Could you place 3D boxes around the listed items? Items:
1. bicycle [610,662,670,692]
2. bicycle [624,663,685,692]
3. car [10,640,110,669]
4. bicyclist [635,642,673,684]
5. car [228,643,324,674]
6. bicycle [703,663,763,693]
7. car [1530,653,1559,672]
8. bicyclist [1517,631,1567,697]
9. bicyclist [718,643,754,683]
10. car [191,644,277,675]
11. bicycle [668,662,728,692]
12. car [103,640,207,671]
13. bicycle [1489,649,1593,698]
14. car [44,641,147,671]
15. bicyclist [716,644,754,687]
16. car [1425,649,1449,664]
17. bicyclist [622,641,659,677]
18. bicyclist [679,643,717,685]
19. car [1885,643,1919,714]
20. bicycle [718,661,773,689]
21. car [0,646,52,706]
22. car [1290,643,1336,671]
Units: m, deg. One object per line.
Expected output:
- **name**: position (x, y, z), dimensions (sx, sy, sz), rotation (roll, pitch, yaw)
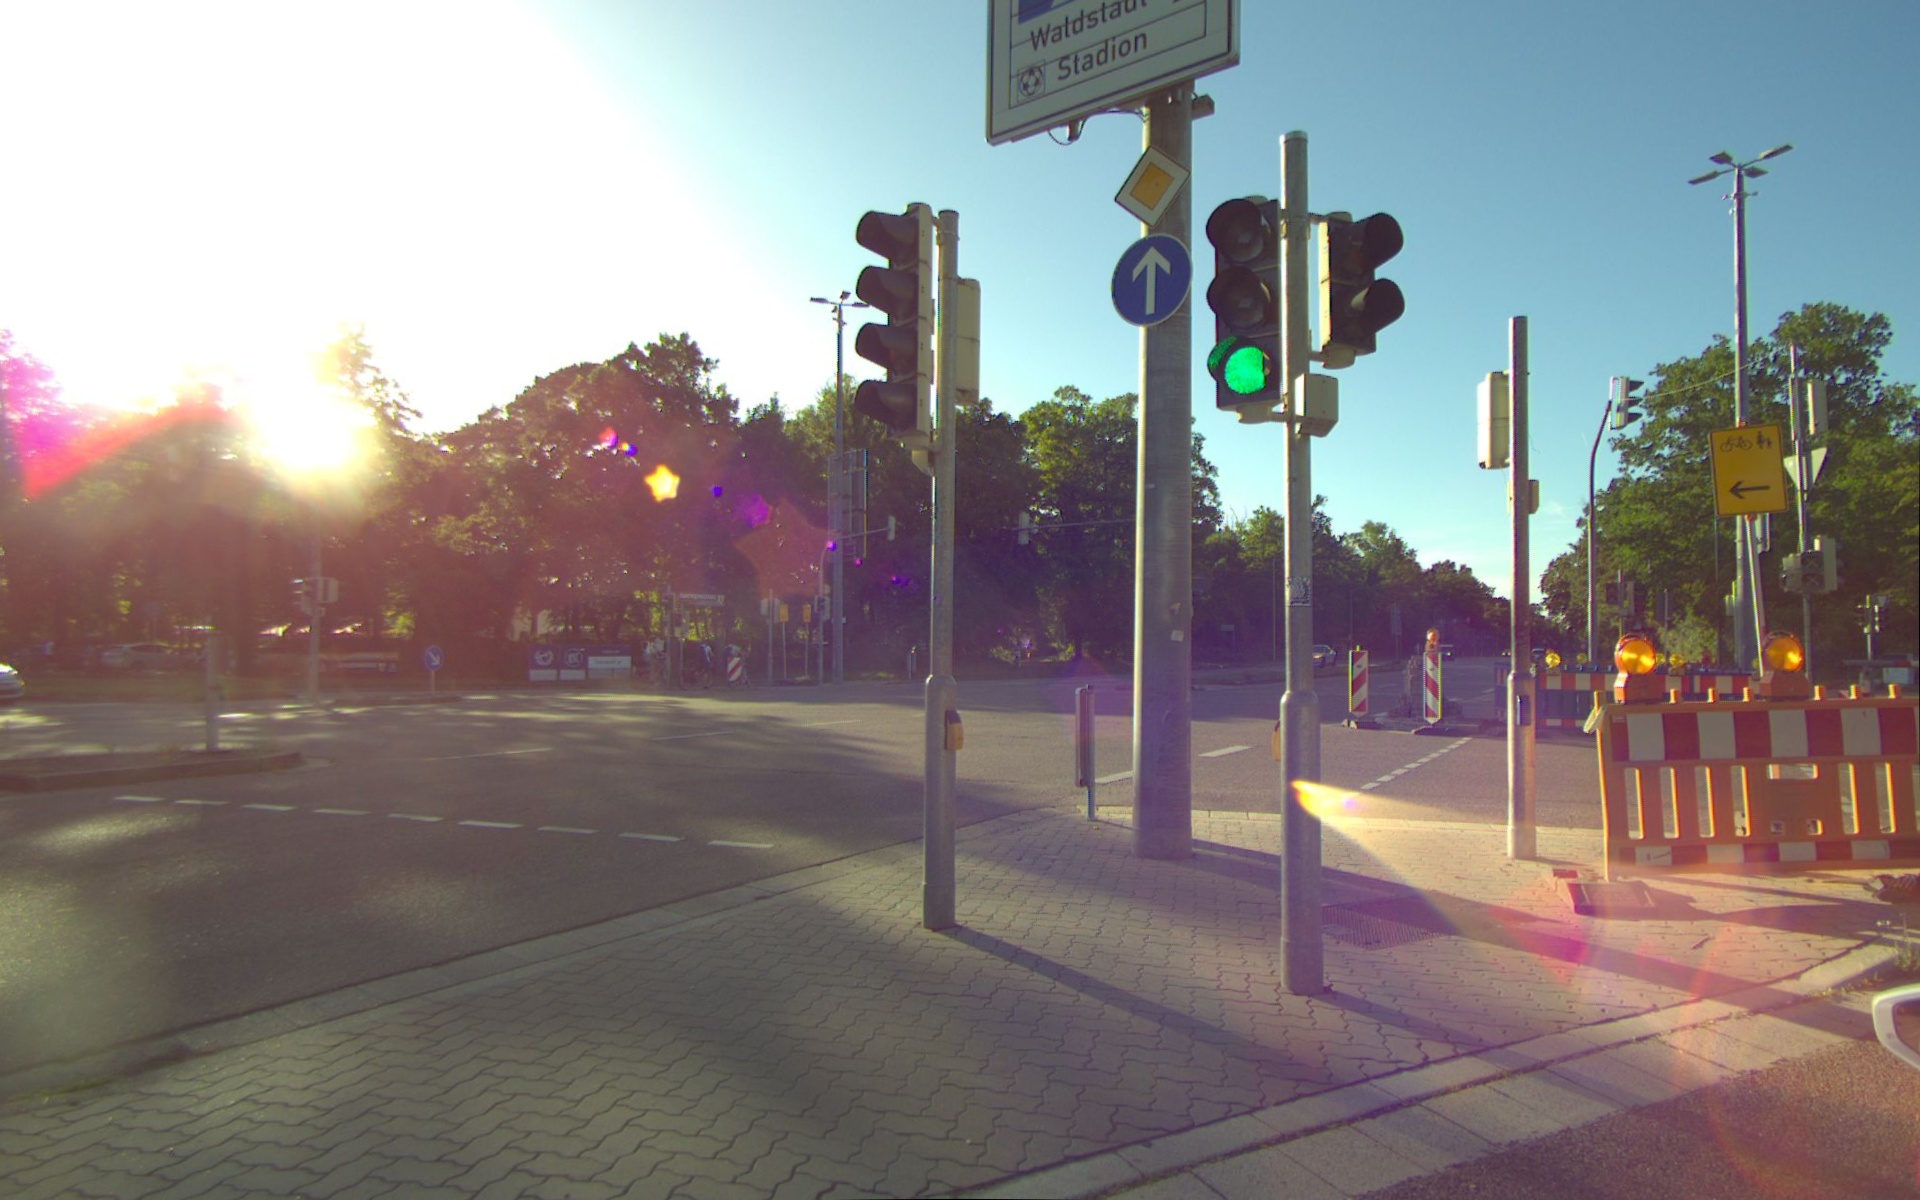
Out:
- **bicycle**: position (-10.966, 2.620, 34.436), dimensions (0.706, 0.926, 1.903), rotation (-2, -2, 38)
- **bicycle**: position (-10.288, 2.605, 33.841), dimensions (0.706, 0.926, 1.903), rotation (-1, -3, 38)
- **car**: position (-52.425, 3.154, 58.590), dimensions (1.779, 1.620, 3.971), rotation (-1, -3, 22)
- **bicyclist**: position (-10.310, 2.116, 33.835), dimensions (0.702, 1.408, 0.986), rotation (-1, -3, 39)
- **car**: position (-37.377, 3.157, 55.011), dimensions (1.777, 1.620, 4.200), rotation (0, -2, 13)
- **bicycle**: position (-7.359, 2.522, 32.629), dimensions (0.706, 0.926, 1.903), rotation (-1, -3, 38)
- **car**: position (46.559, 4.931, 80.032), dimensions (1.912, 1.433, 3.992), rotation (-1, -3, 31)
- **bicyclist**: position (17.873, 1.955, 30.855), dimensions (0.996, 1.955, 0.969), rotation (1, -1, 4)
- **bicyclist**: position (-7.835, 2.184, 35.110), dimensions (0.706, 1.359, 0.986), rotation (-1, -3, 39)
- **car**: position (-40.004, 3.247, 55.465), dimensions (1.777, 1.620, 3.504), rotation (0, -2, 13)
- **bicycle**: position (-8.810, 2.572, 33.790), dimensions (0.706, 0.926, 1.903), rotation (-1, -3, 38)
- **car**: position (-44.911, 3.065, 56.123), dimensions (1.779, 1.620, 4.150), rotation (-1, -3, 22)
- **bicycle**: position (17.820, 2.252, 30.844), dimensions (2.587, 1.401, 0.969), rotation (1, -1, 4)
- **car**: position (-48.387, 3.127, 56.289), dimensions (1.779, 1.620, 3.971), rotation (-1, -3, 22)
- **bicyclist**: position (-7.318, 2.126, 32.688), dimensions (0.706, 1.356, 0.986), rotation (-1, -3, 39)
- **car**: position (55.373, 6.505, 116.575), dimensions (1.966, 1.676, 4.237), rotation (-1, -3, 34)
- **bicyclist**: position (-10.965, 2.020, 34.460), dimensions (0.706, 1.208, 0.986), rotation (-1, -3, 39)
- **bicyclist**: position (-8.810, 2.132, 33.802), dimensions (0.706, 1.373, 0.986), rotation (-1, -3, 39)
- **car**: position (23.984, 1.771, 22.226), dimensions (4.736, 1.601, 2.001), rotation (0, -2, 14)
- **bicycle**: position (-7.554, 2.648, 35.452), dimensions (0.706, 0.926, 1.903), rotation (-1, -3, 38)
- **car**: position (-24.577, 1.822, 24.330), dimensions (3.722, 1.407, 1.930), rotation (0, -3, 10)
- **car**: position (24.160, 3.882, 68.644), dimensions (1.966, 1.812, 4.237), rotation (-1, -3, 34)
